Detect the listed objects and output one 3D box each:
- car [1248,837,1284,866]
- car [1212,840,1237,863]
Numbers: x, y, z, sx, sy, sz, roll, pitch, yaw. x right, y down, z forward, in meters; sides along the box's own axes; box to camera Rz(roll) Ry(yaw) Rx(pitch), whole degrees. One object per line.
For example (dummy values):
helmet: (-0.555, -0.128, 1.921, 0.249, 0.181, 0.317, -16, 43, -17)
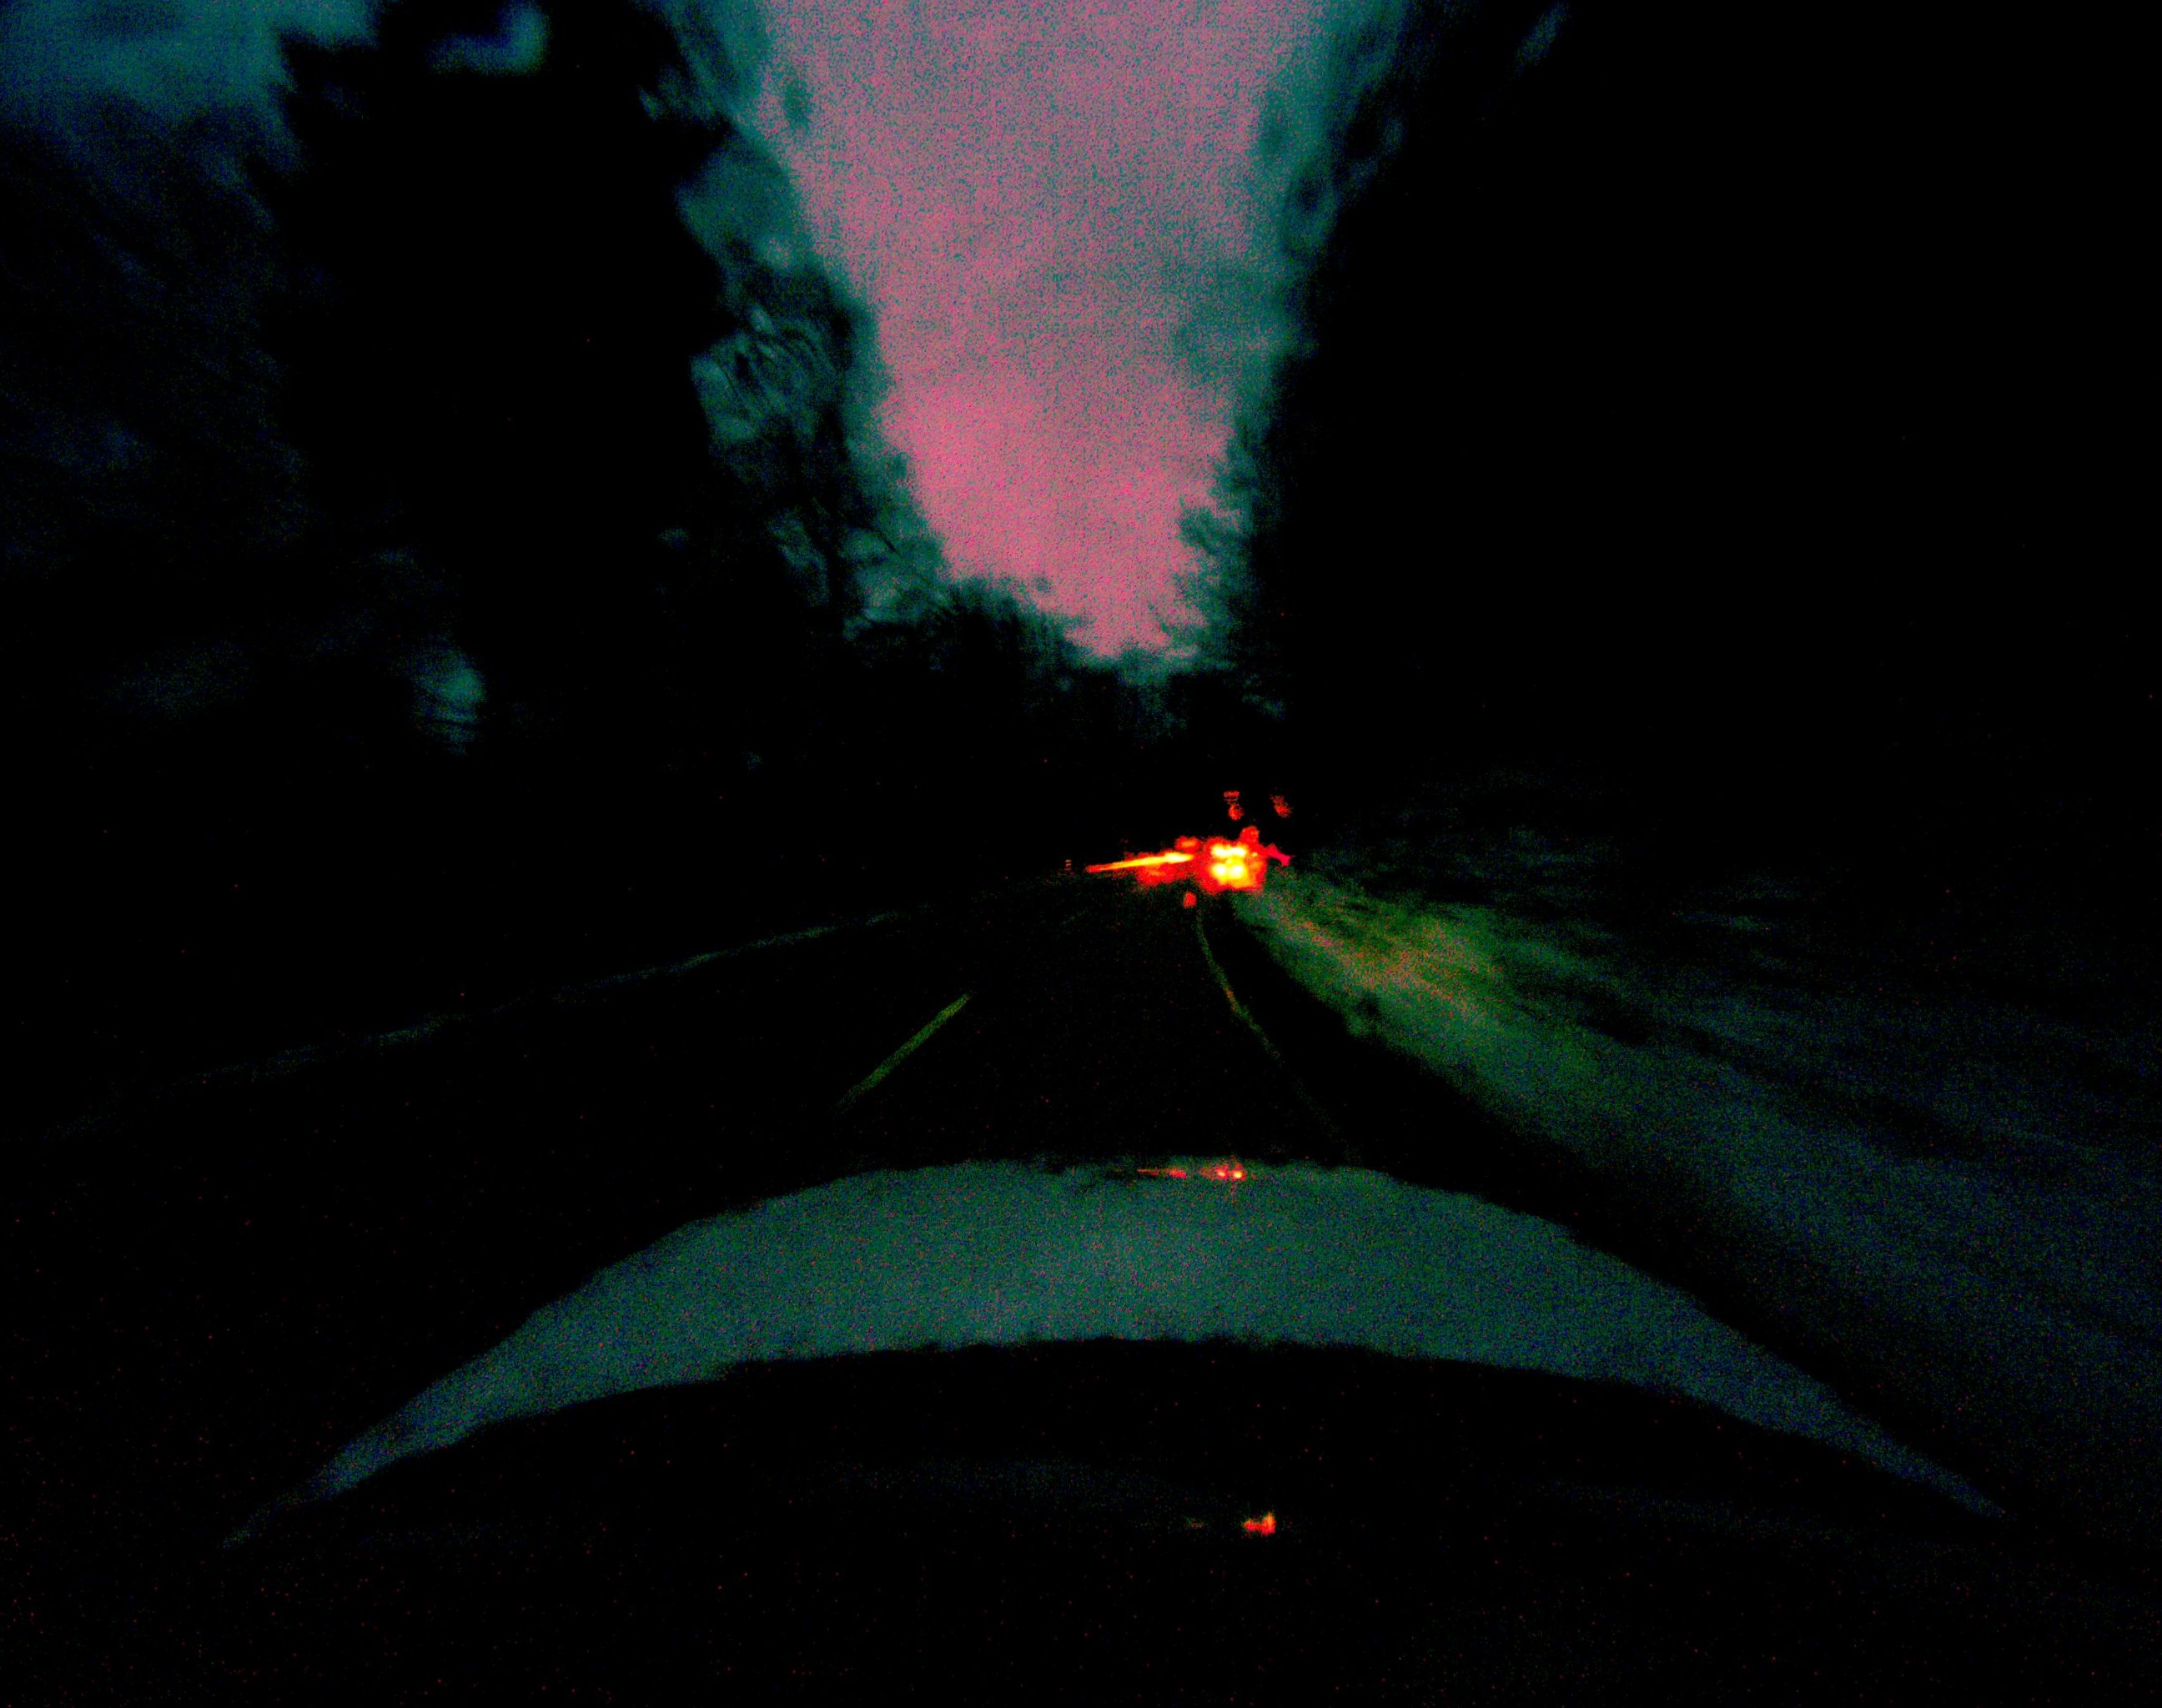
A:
car: (12.826, -0.165, 56.241, 1.978, 1.872, 4.019, -2, 0, 18)
car: (10.677, -0.186, 60.516, 1.710, 1.630, 4.013, -1, 0, 12)
